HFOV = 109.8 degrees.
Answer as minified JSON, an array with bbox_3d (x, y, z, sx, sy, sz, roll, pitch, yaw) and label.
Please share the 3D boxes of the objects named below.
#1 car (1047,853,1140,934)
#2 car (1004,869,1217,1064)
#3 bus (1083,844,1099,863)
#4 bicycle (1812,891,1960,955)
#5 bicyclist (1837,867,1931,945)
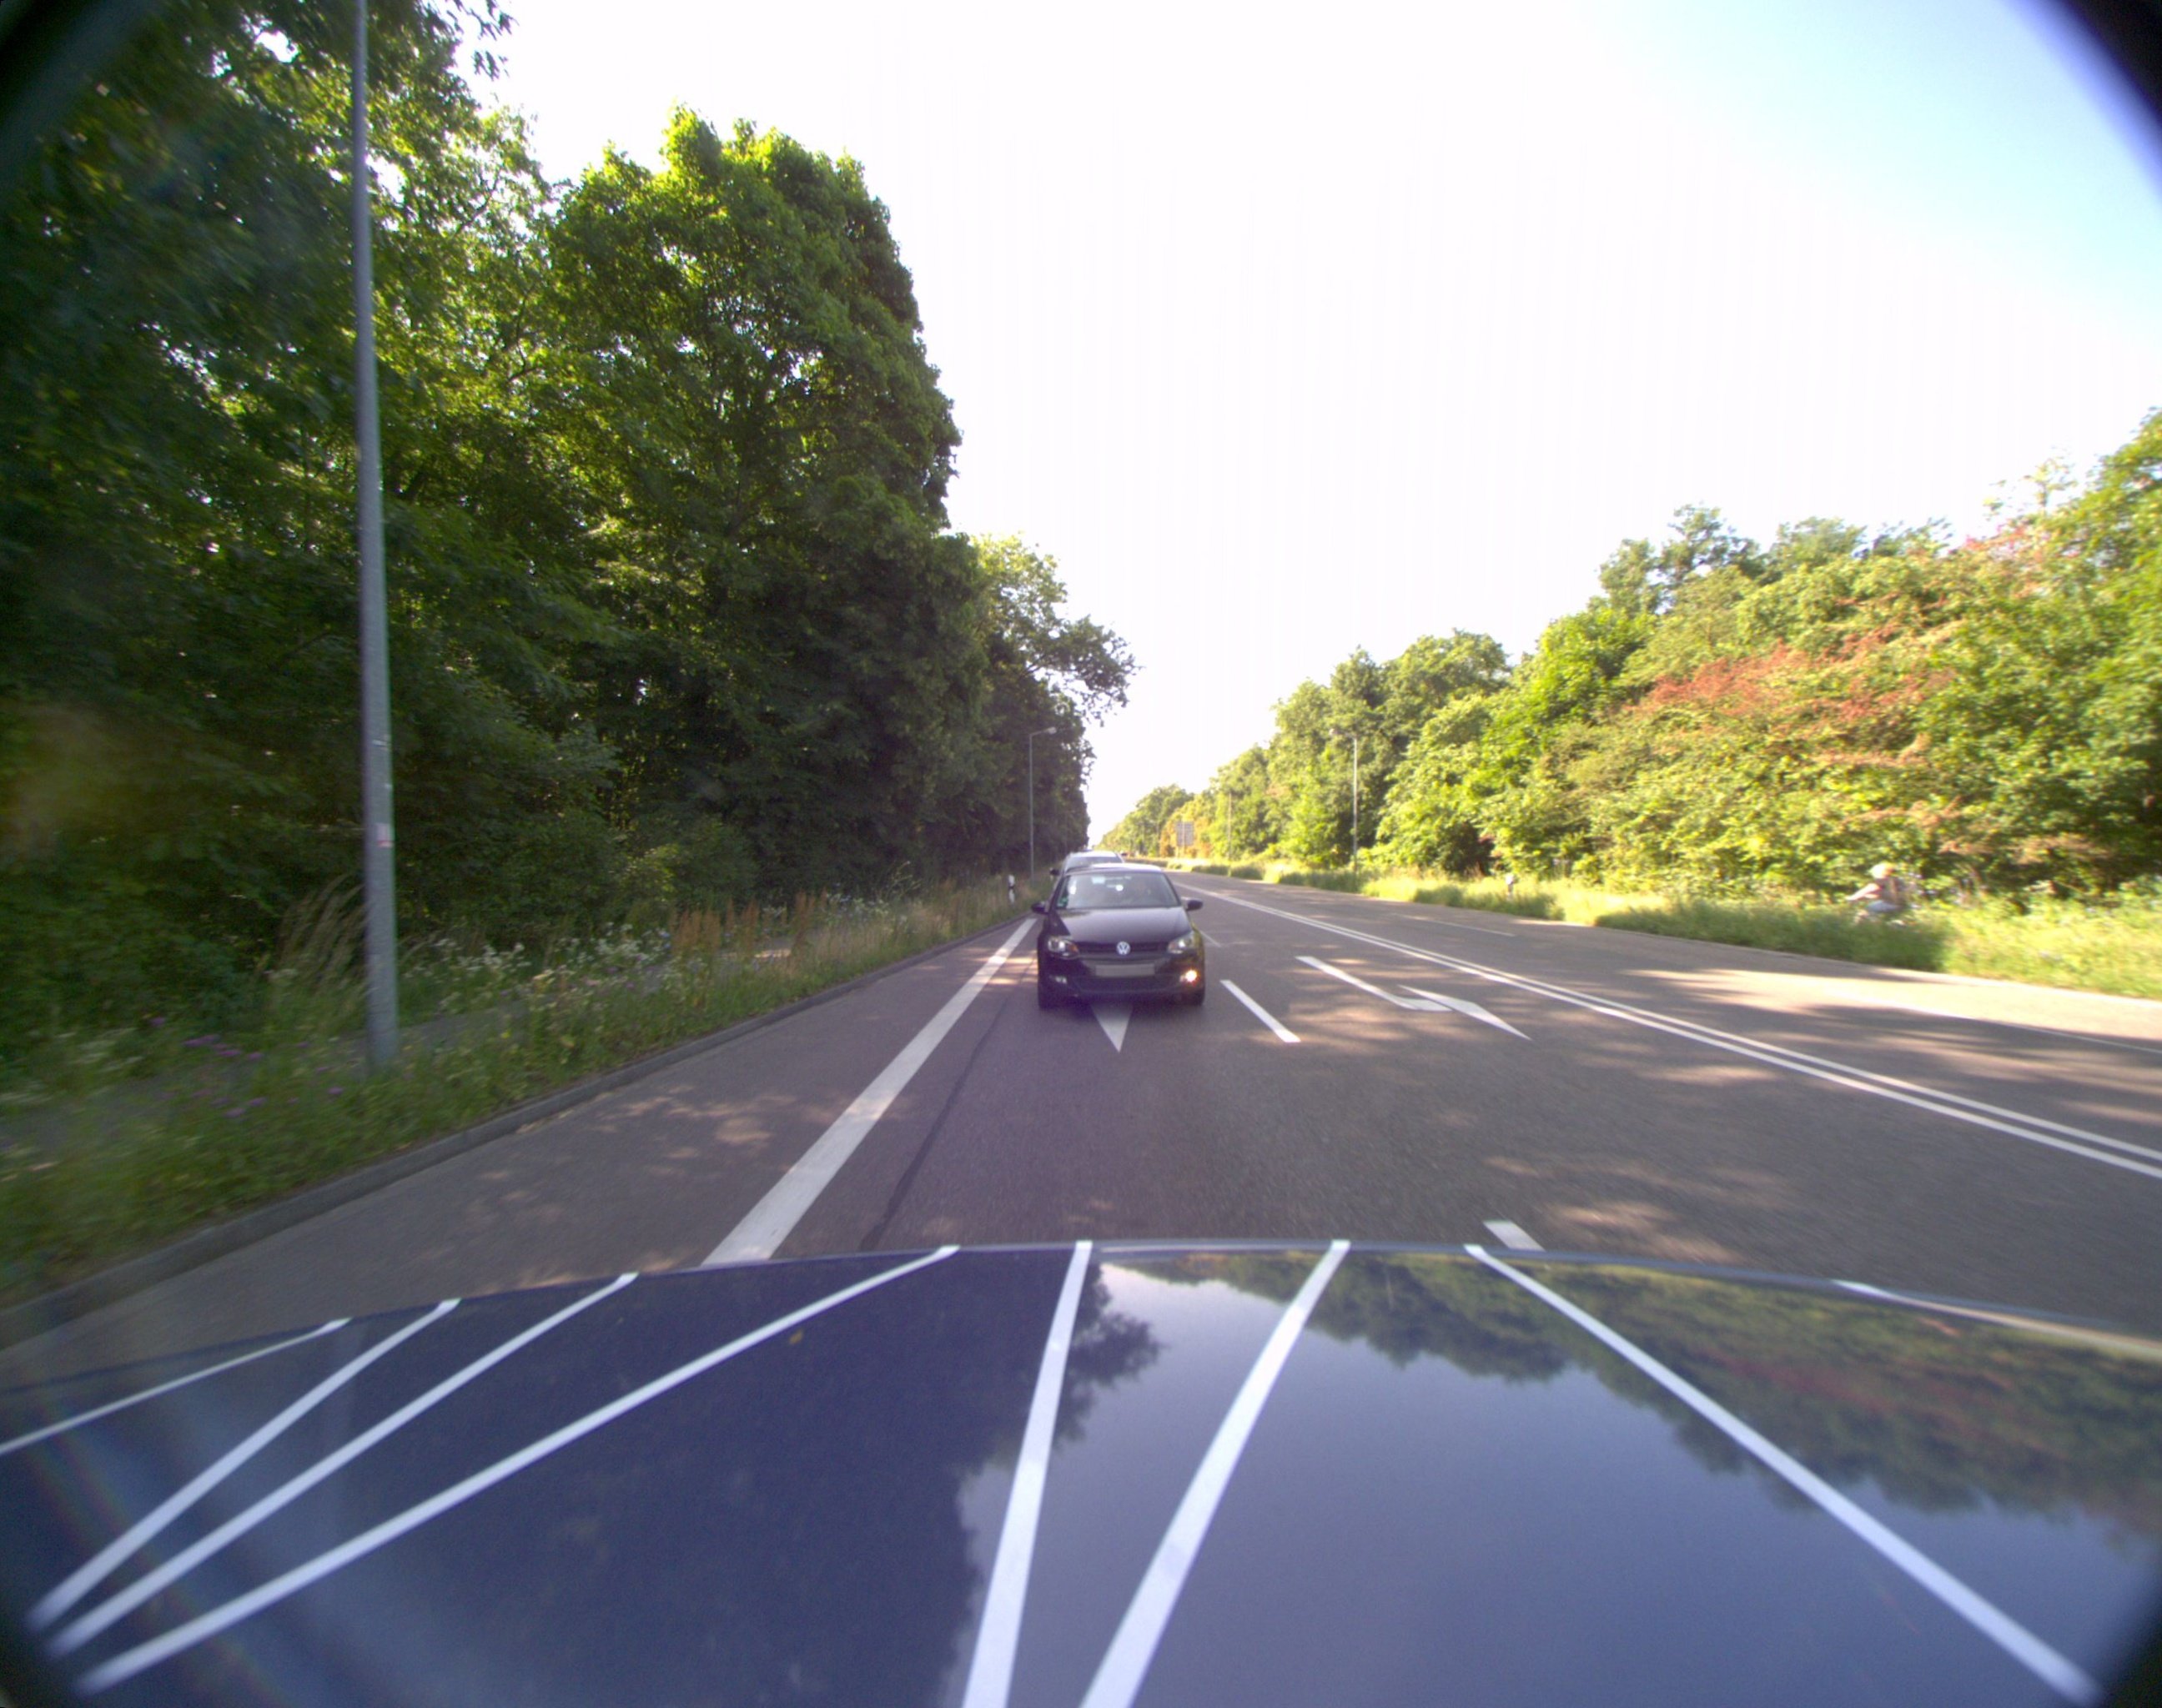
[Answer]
[{"bbox_3d":[0.419,0.823,18.089,1.812,1.639,4.309,-2,0,6],"label":"car"},{"bbox_3d":[0.431,0.954,8.128,1.650,1.422,4.056,-3,0,6],"label":"car"},{"bbox_3d":[1.872,-0.105,146.877,2.782,3.437,7.792,-2,1,0],"label":"bus"},{"bbox_3d":[14.829,1.239,14.082,0.676,0.951,1.913,-2,1,-2],"label":"bicycle"},{"bbox_3d":[14.818,0.938,14.052,0.676,1.335,0.975,-2,1,-2],"label":"bicyclist"}]
